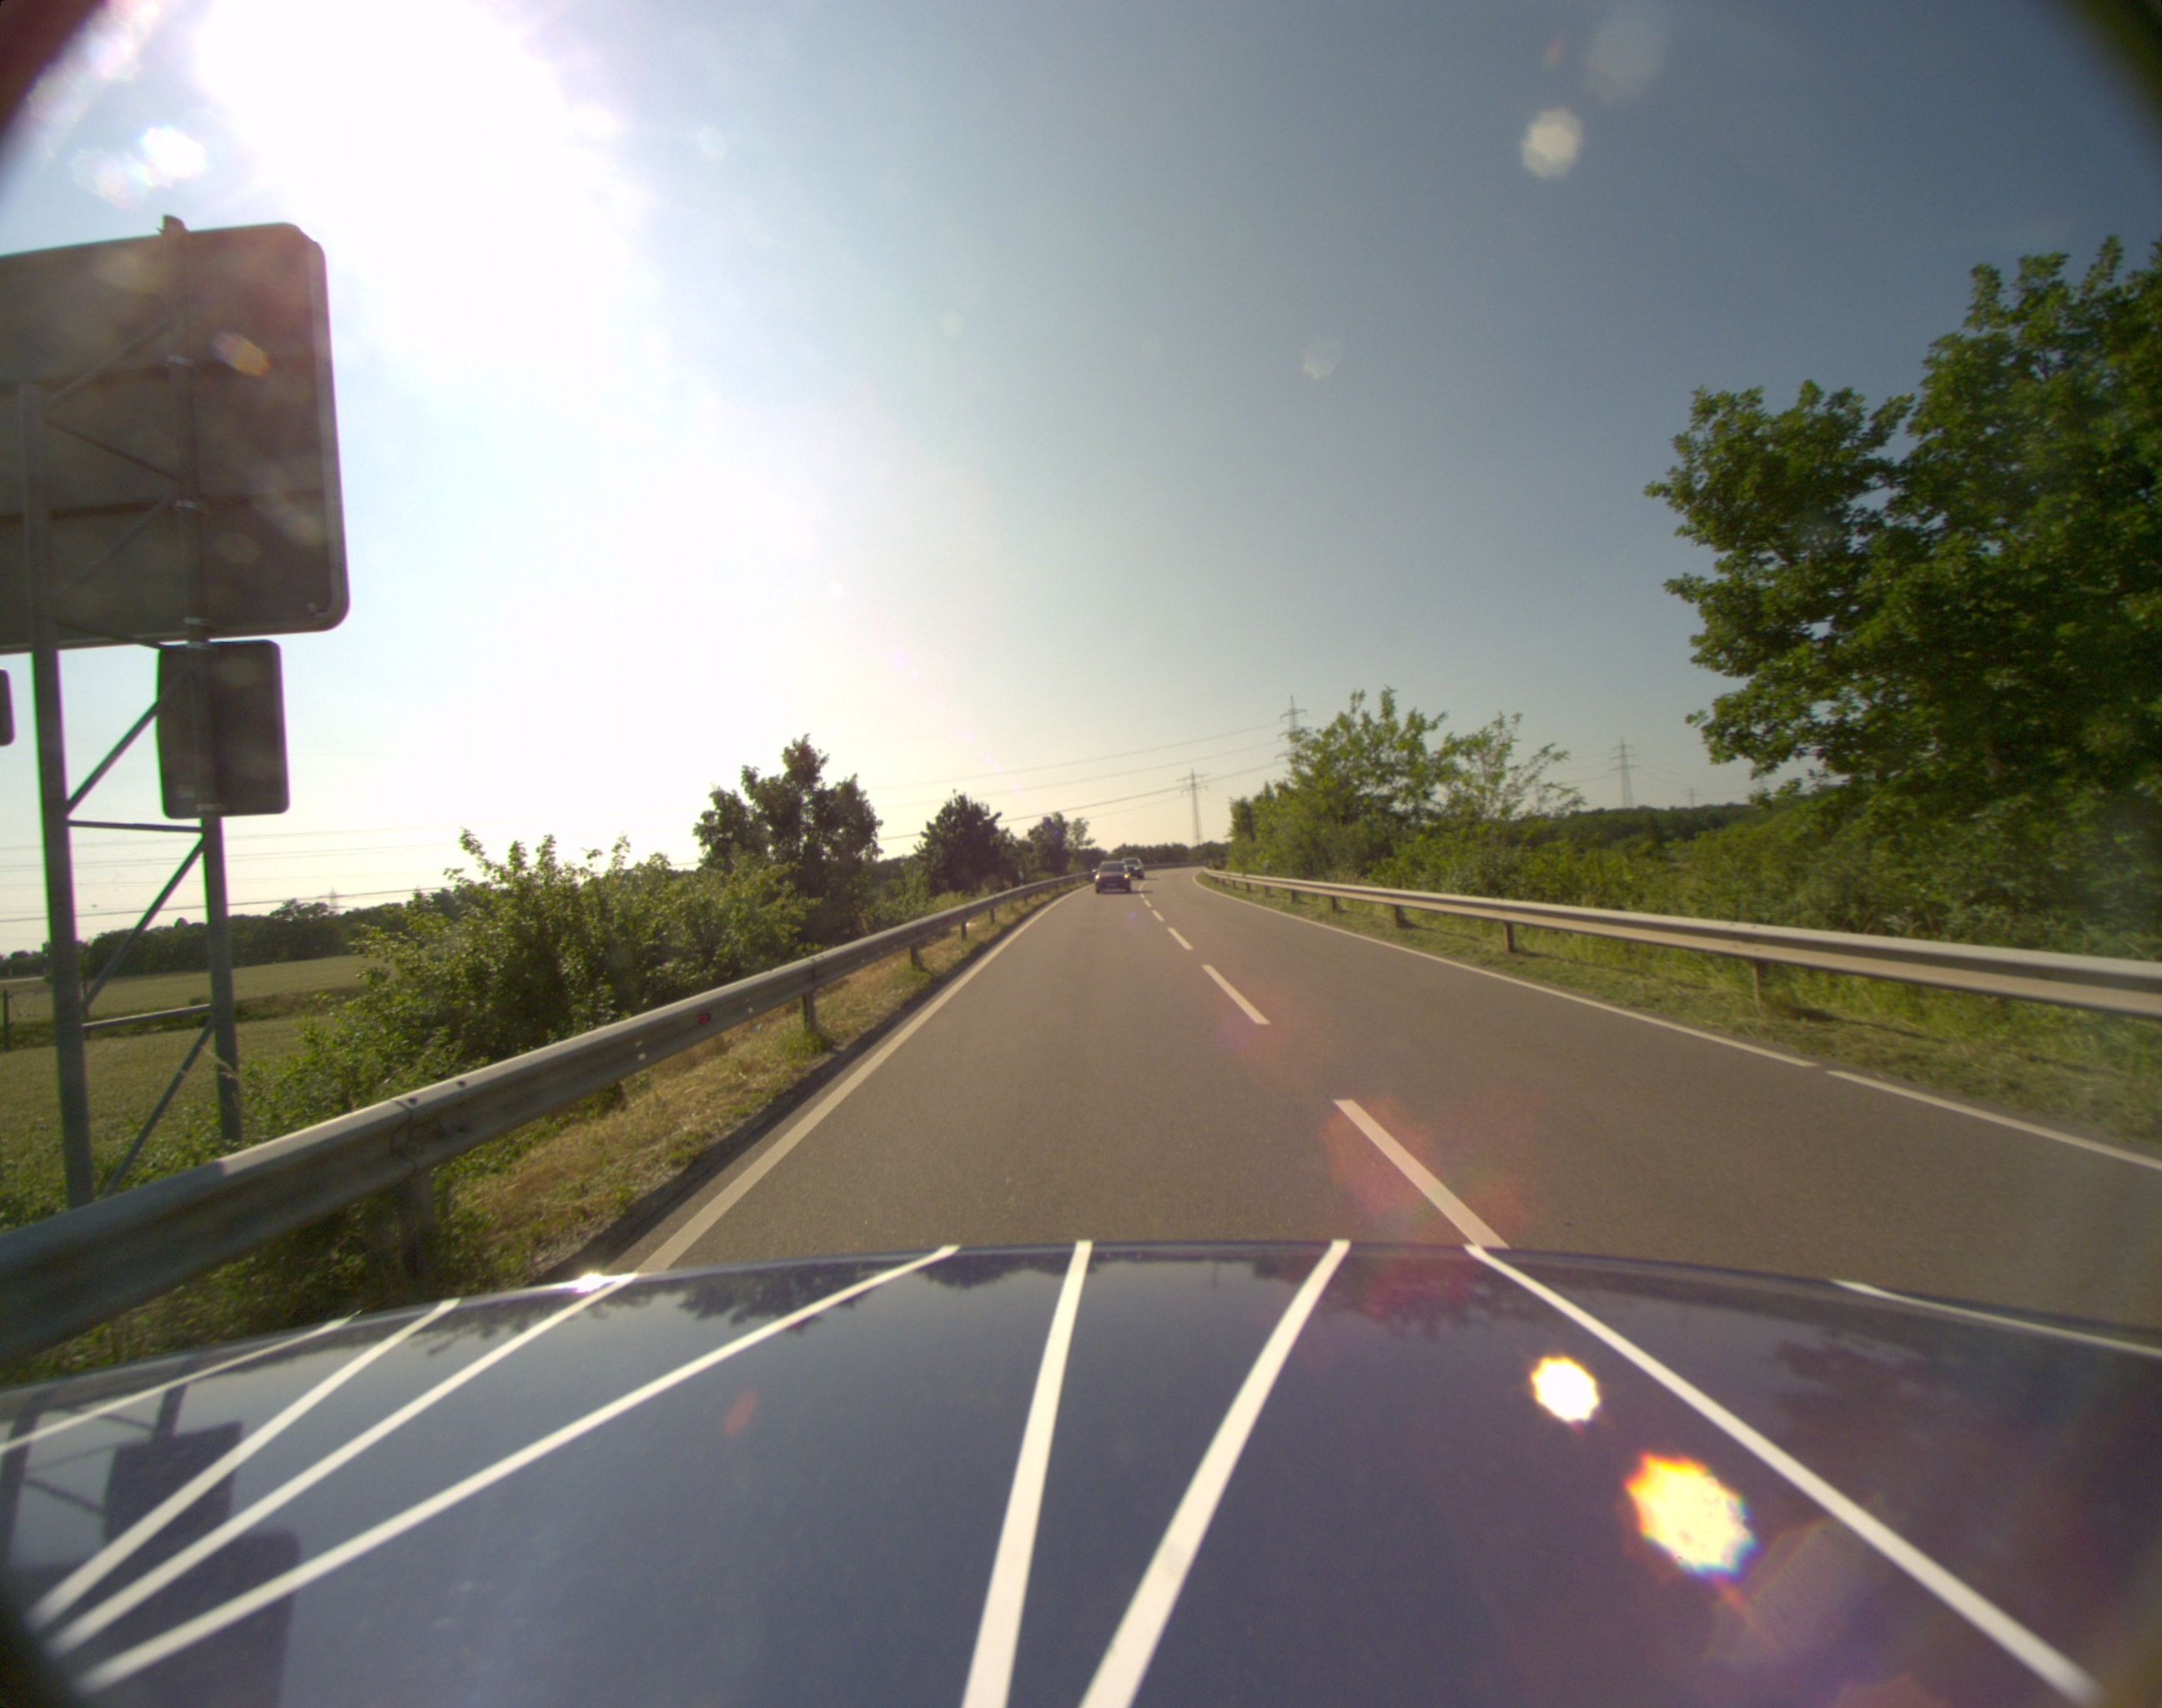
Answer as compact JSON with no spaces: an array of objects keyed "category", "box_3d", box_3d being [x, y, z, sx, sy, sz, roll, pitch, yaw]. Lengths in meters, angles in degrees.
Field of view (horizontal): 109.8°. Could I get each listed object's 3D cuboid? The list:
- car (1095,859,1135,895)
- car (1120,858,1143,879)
[{"category":"car","box_3d":[1.688,1.077,36.867,1.606,1.486,4.001,-3,0,6]},{"category":"car","box_3d":[3.994,1.113,59.390,1.606,1.486,4.001,-3,0,6]}]
